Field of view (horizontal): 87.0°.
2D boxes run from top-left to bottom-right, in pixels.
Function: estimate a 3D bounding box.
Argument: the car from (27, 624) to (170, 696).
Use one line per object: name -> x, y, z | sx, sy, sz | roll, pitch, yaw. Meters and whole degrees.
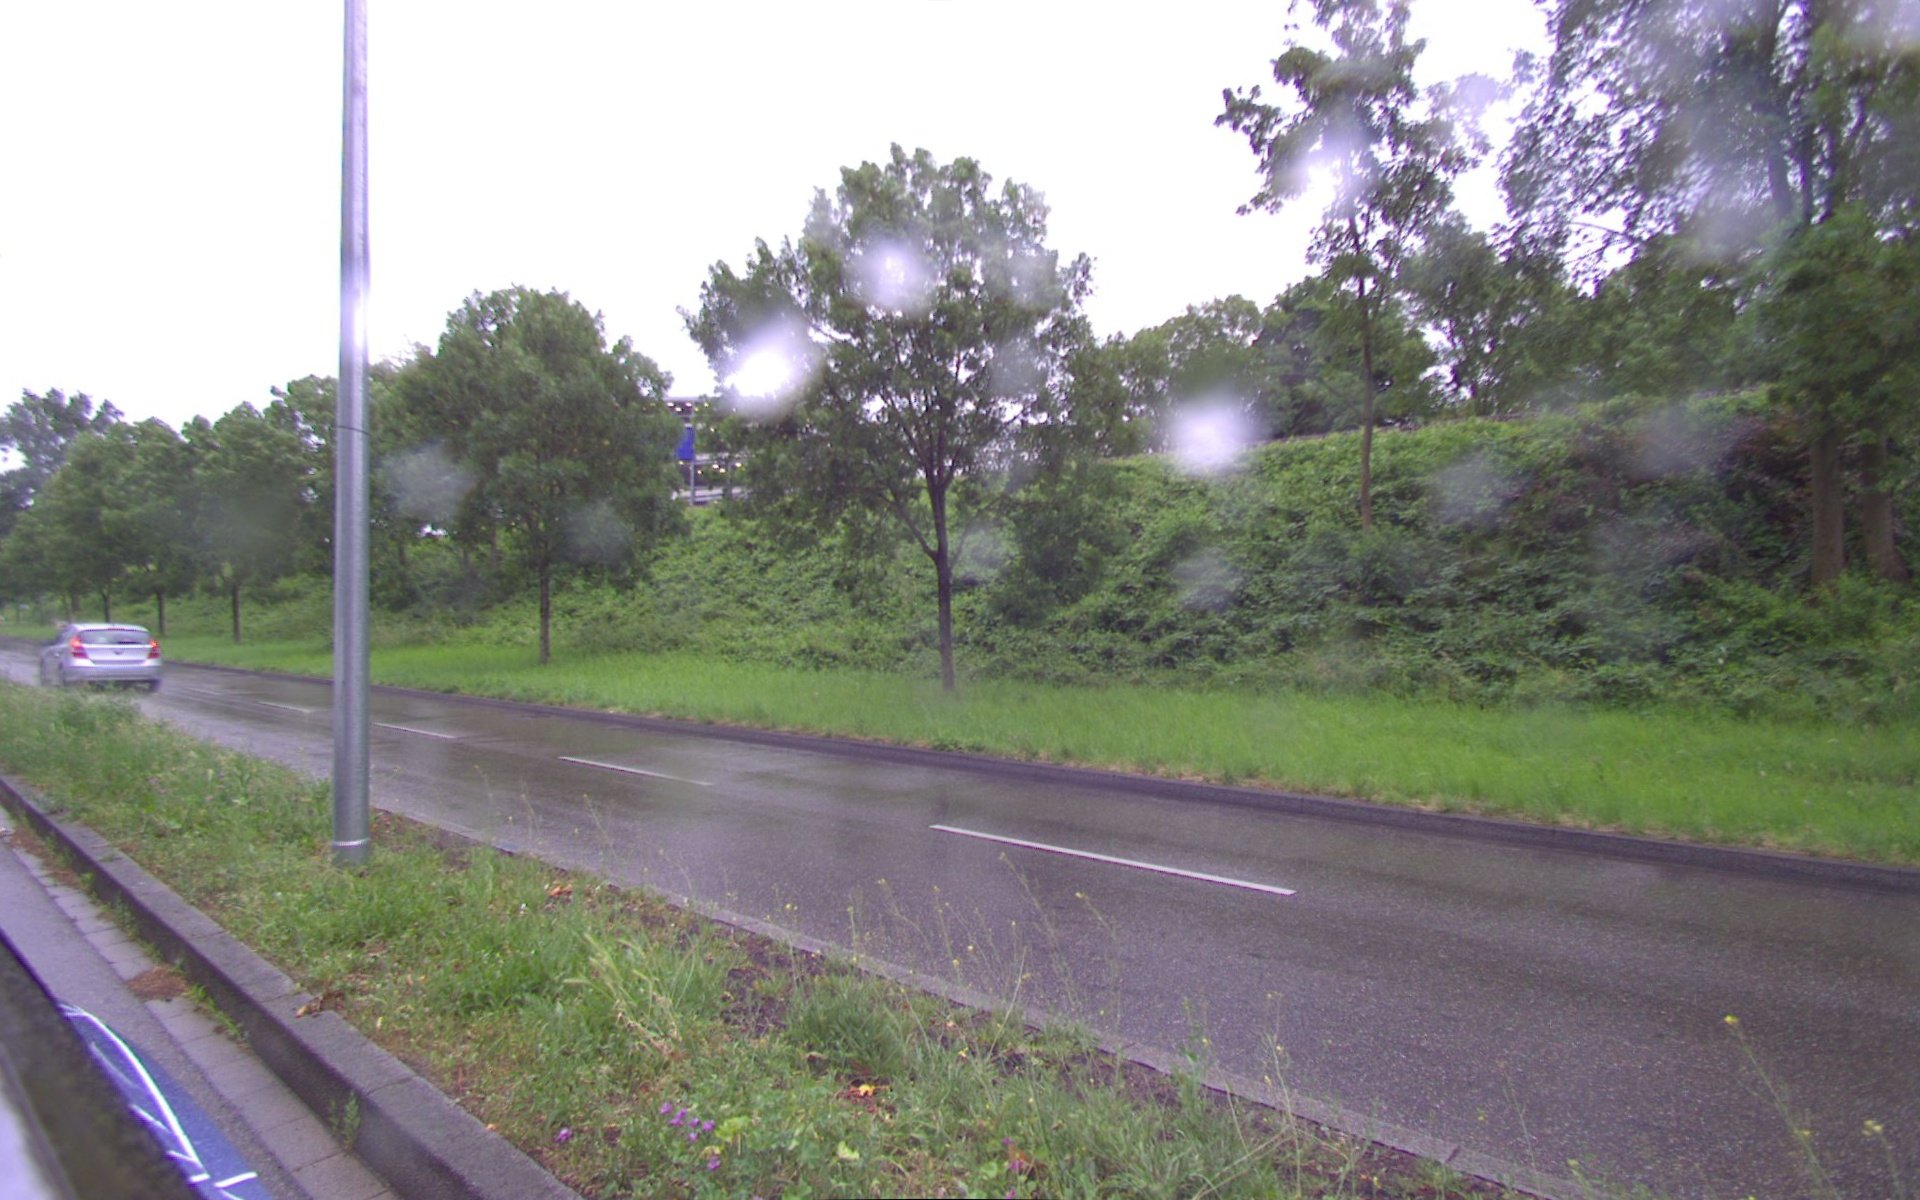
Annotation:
car -> -19.582, 1.333, 22.945 | 3.997, 1.474, 1.797 | -1, -4, 40
